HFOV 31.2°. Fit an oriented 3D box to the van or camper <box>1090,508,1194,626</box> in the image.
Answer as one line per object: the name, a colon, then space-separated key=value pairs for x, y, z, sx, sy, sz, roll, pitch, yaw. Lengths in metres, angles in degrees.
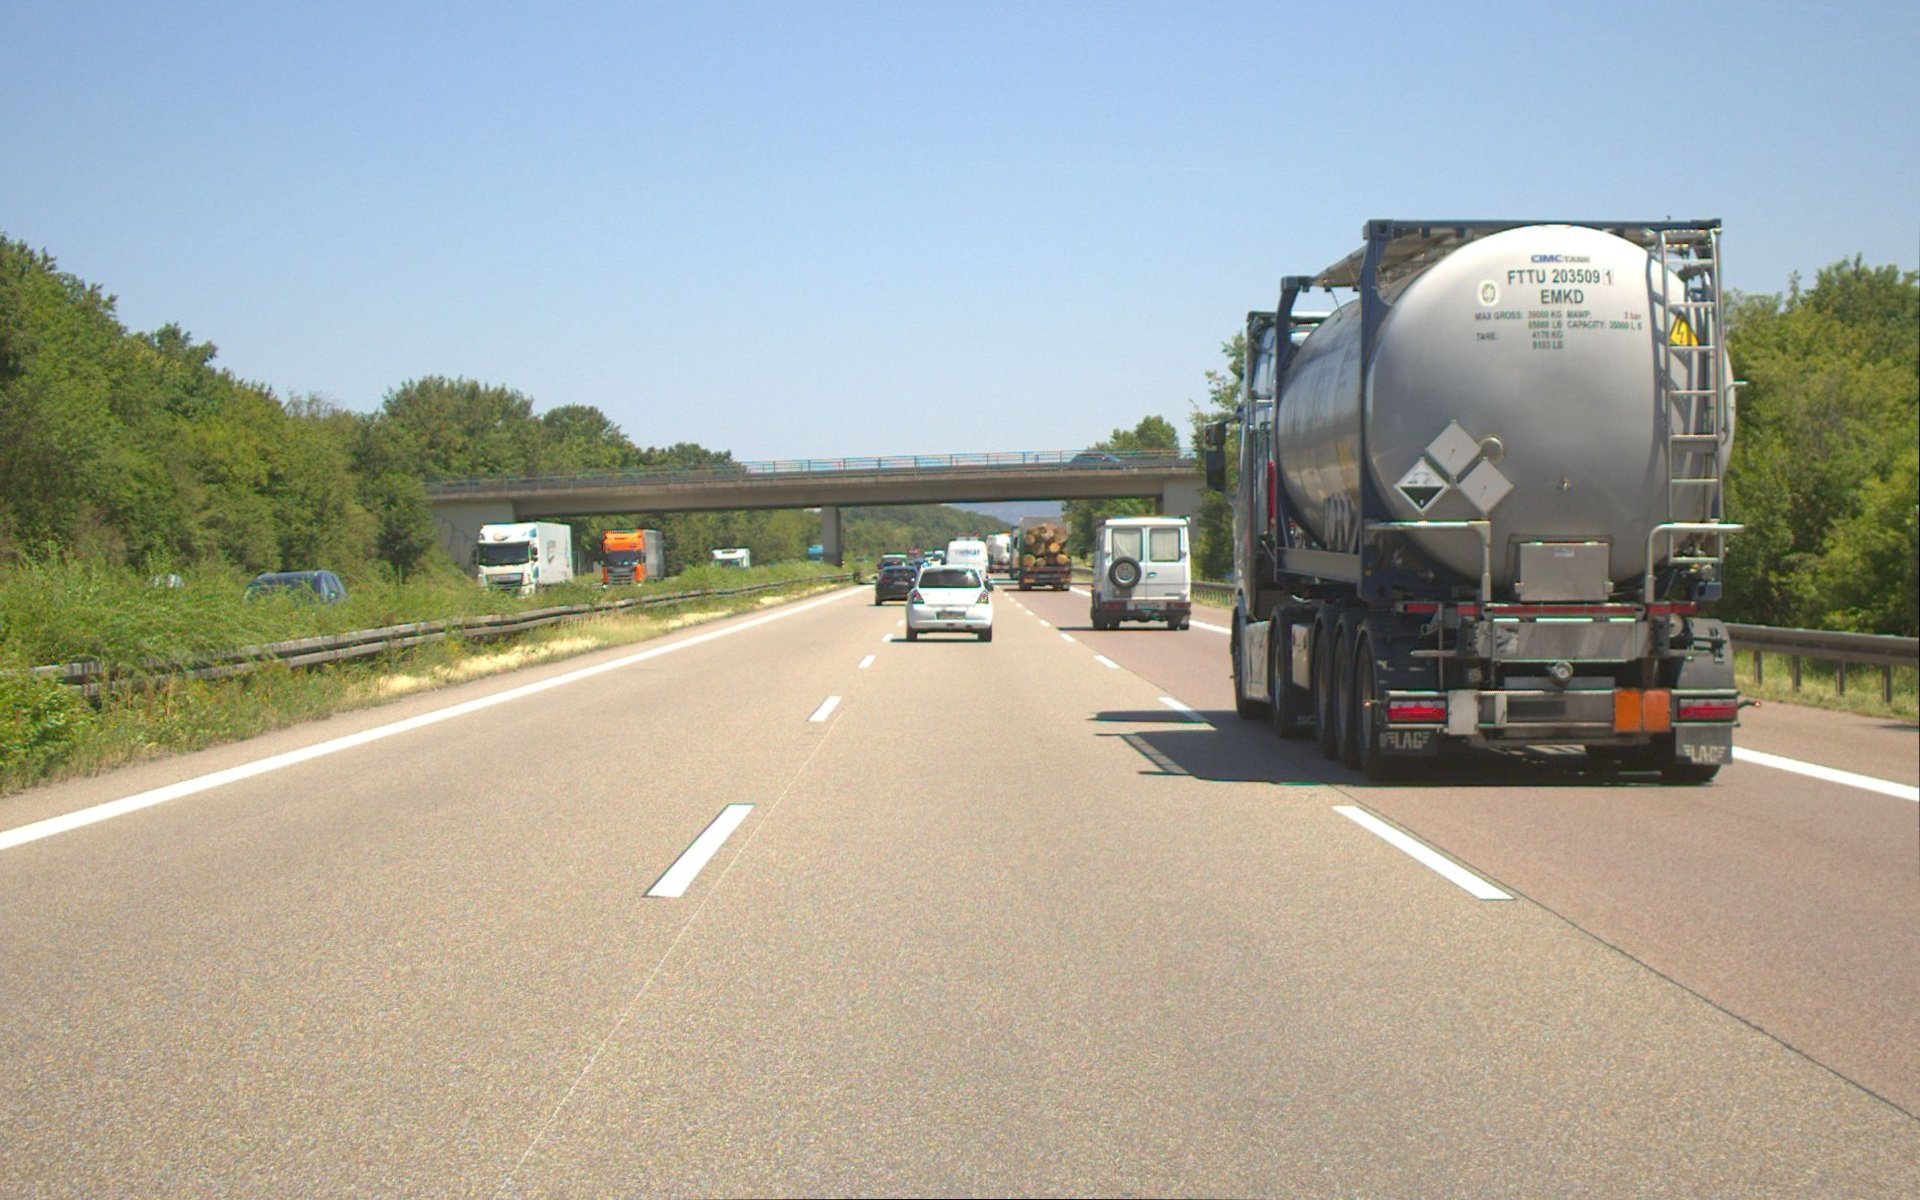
van or camper: x=4.278 y=-0.787 z=81.883 sx=2.113 sy=2.694 sz=6.368 roll=0 pitch=1 yaw=0

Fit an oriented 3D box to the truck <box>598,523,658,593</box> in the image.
truck: x=-20.528 y=-2.588 z=212.553 sx=3.137 sy=4.217 sz=5.176 roll=1 pitch=1 yaw=0

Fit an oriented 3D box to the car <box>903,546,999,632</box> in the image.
car: x=-0.200 y=-0.236 z=69.342 sx=1.857 sy=1.646 sz=4.000 roll=1 pitch=1 yaw=-1

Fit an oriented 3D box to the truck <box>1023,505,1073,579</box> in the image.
truck: x=4.787 y=-3.159 z=188.161 sx=2.670 sy=3.981 sz=6.636 roll=0 pitch=1 yaw=1

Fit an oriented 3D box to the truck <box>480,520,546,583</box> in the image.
truck: x=-20.840 y=-2.245 z=160.473 sx=2.337 sy=2.882 sz=4.863 roll=1 pitch=1 yaw=1

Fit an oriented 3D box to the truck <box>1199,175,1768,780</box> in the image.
truck: x=3.982 y=-0.896 z=29.793 sx=2.798 sy=4.032 sz=13.355 roll=1 pitch=1 yaw=0

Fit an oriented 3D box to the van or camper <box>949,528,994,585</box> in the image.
van or camper: x=0.557 y=-2.030 z=161.628 sx=2.058 sy=2.613 sz=5.985 roll=0 pitch=1 yaw=1

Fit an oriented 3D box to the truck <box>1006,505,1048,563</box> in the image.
truck: x=5.138 y=-4.959 z=261.158 sx=3.079 sy=4.194 sz=16.843 roll=1 pitch=1 yaw=1

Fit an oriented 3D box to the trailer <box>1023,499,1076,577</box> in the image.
trailer: x=4.646 y=-3.235 z=180.890 sx=2.653 sy=3.945 sz=13.636 roll=0 pitch=1 yaw=1
